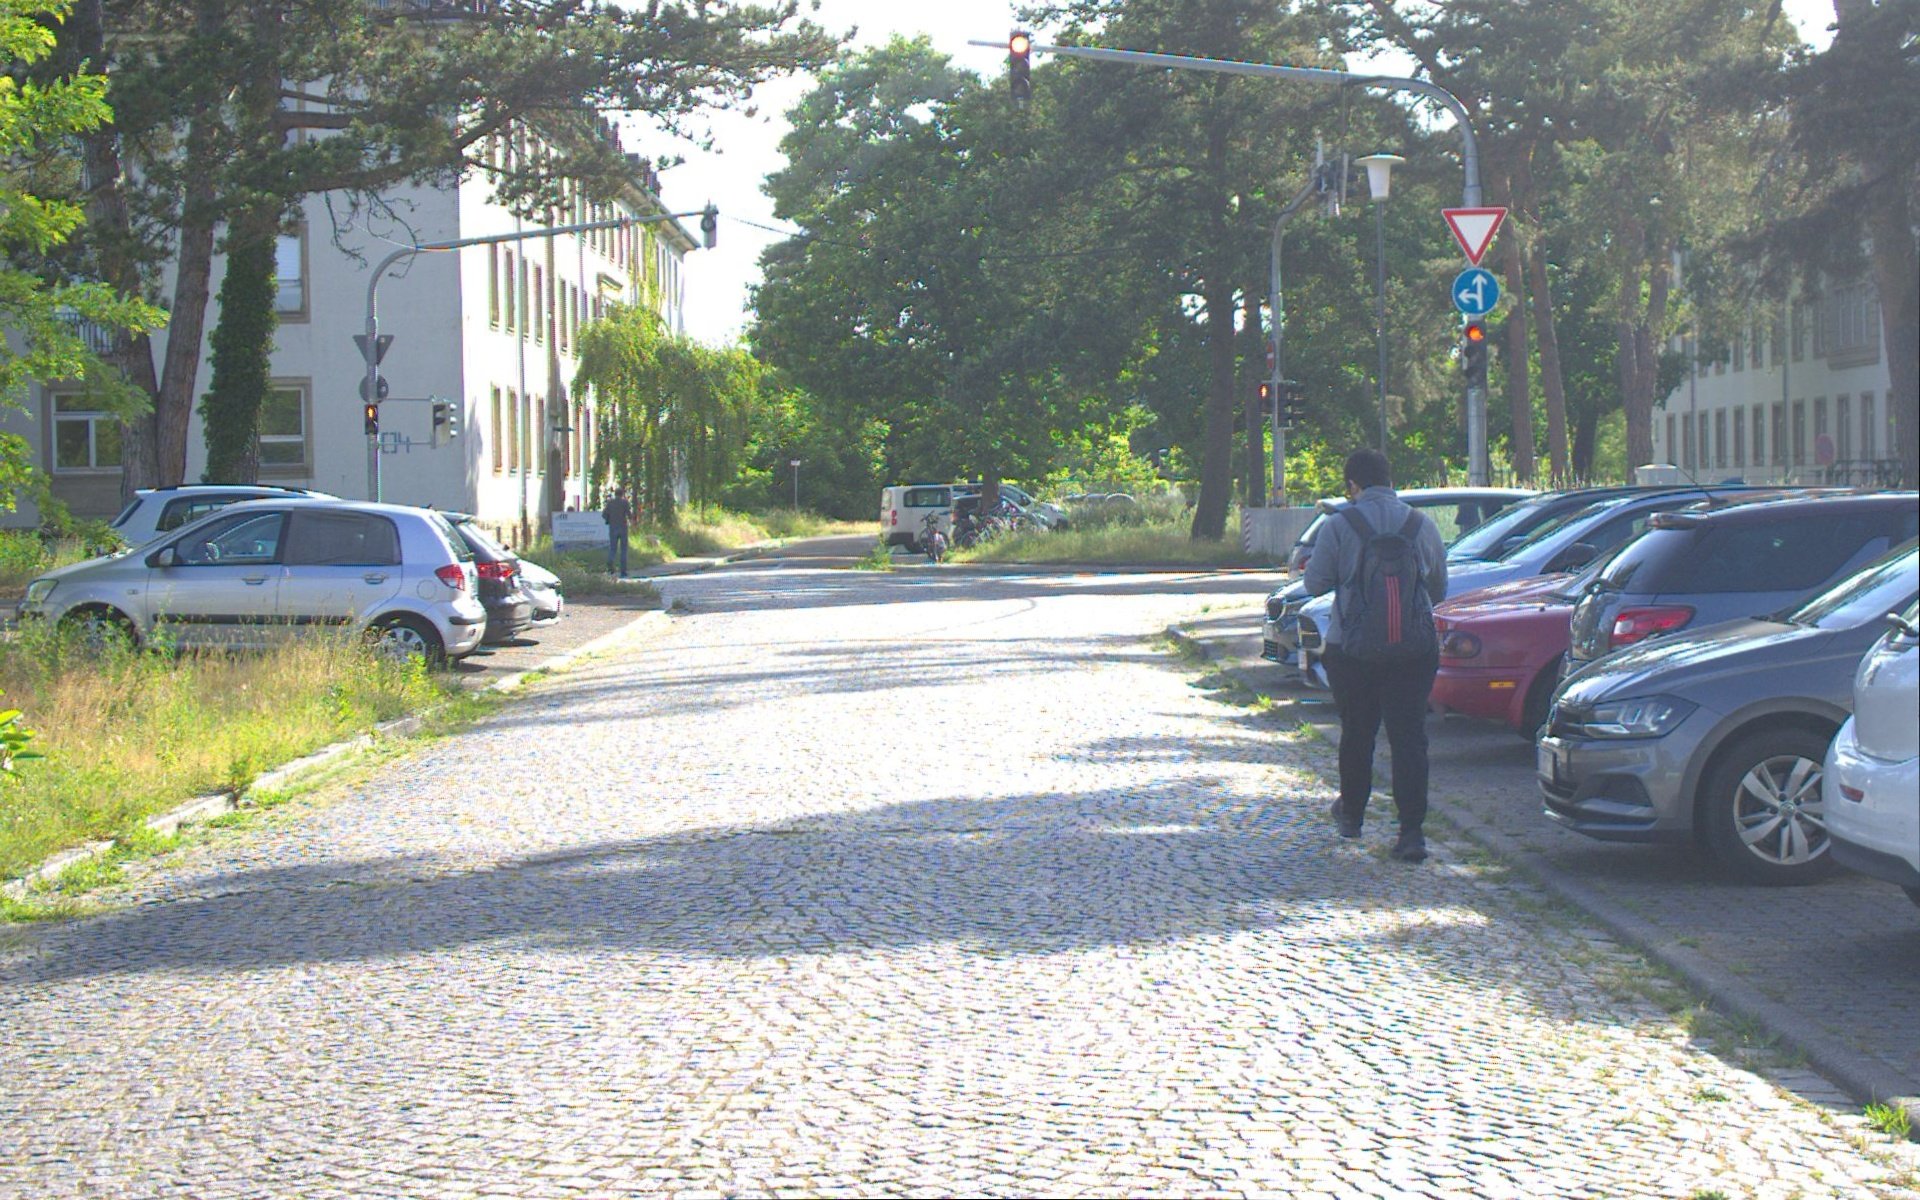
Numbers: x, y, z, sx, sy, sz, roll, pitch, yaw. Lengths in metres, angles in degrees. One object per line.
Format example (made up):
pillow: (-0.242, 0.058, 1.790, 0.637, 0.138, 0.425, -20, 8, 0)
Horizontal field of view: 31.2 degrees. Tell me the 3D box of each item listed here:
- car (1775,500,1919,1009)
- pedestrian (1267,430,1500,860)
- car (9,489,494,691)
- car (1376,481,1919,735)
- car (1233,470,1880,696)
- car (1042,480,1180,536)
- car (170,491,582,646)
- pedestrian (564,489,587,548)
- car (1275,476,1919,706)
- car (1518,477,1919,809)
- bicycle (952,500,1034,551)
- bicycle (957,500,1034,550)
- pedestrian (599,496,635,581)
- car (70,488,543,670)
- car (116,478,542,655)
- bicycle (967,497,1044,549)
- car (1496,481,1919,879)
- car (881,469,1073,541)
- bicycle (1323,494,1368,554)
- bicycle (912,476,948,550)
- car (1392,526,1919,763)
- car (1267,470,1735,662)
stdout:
car: (4.614, 0.404, 10.933, 3.645, 1.487, 1.634, -1, 2, 0)
pedestrian: (1.778, 0.173, 14.547, 0.753, 1.719, 0.828, 4, 2, -1)
car: (-5.811, -0.105, 28.501, 3.685, 1.522, 1.699, 2, 2, -2)
car: (4.741, 0.015, 21.715, 3.979, 1.443, 1.656, -2, 2, 0)
car: (4.568, -0.162, 26.774, 4.619, 1.450, 1.870, -3, 2, -2)
car: (4.377, -2.688, 100.048, 3.743, 1.574, 1.742, -1, 2, -7)
car: (-6.166, -0.354, 36.552, 3.987, 1.490, 1.772, 2, 2, 5)
pedestrian: (-10.328, -2.193, 92.253, 0.606, 1.554, 0.545, 0, 2, -7)
car: (4.515, -0.091, 23.997, 4.399, 1.384, 1.789, -2, 2, -1)
car: (4.717, 0.135, 16.756, 3.663, 1.450, 1.667, -3, 2, 0)
bicycle: (0.753, -1.698, 78.252, 1.834, 1.108, 0.495, -1, 2, -3)
bicycle: (0.817, -1.716, 78.796, 1.727, 1.108, 0.484, -1, 2, -3)
pedestrian: (-7.094, -1.277, 71.149, 0.606, 1.746, 0.630, -1, 2, -17)
car: (-5.866, -0.215, 31.163, 3.937, 1.440, 1.691, 2, 2, -1)
car: (-6.155, -0.347, 33.820, 3.879, 1.609, 1.661, 1, 2, -1)
bicycle: (1.049, -1.776, 79.476, 1.727, 1.160, 0.561, -1, 2, -3)
car: (4.197, 0.242, 13.863, 3.781, 1.445, 1.758, -2, 2, 2)
car: (0.465, -2.660, 96.150, 5.065, 1.911, 2.001, -1, 2, -9)
bicycle: (7.440, -1.483, 66.333, 0.722, 1.111, 2.583, -1, 2, 9)
bicycle: (-0.653, -1.904, 75.009, 0.753, 1.575, 2.537, -1, 2, -1)
car: (4.256, 0.223, 19.332, 3.460, 1.238, 1.537, -1, 2, 0)
car: (4.558, -0.312, 29.308, 3.673, 1.438, 1.665, -2, 2, 0)
